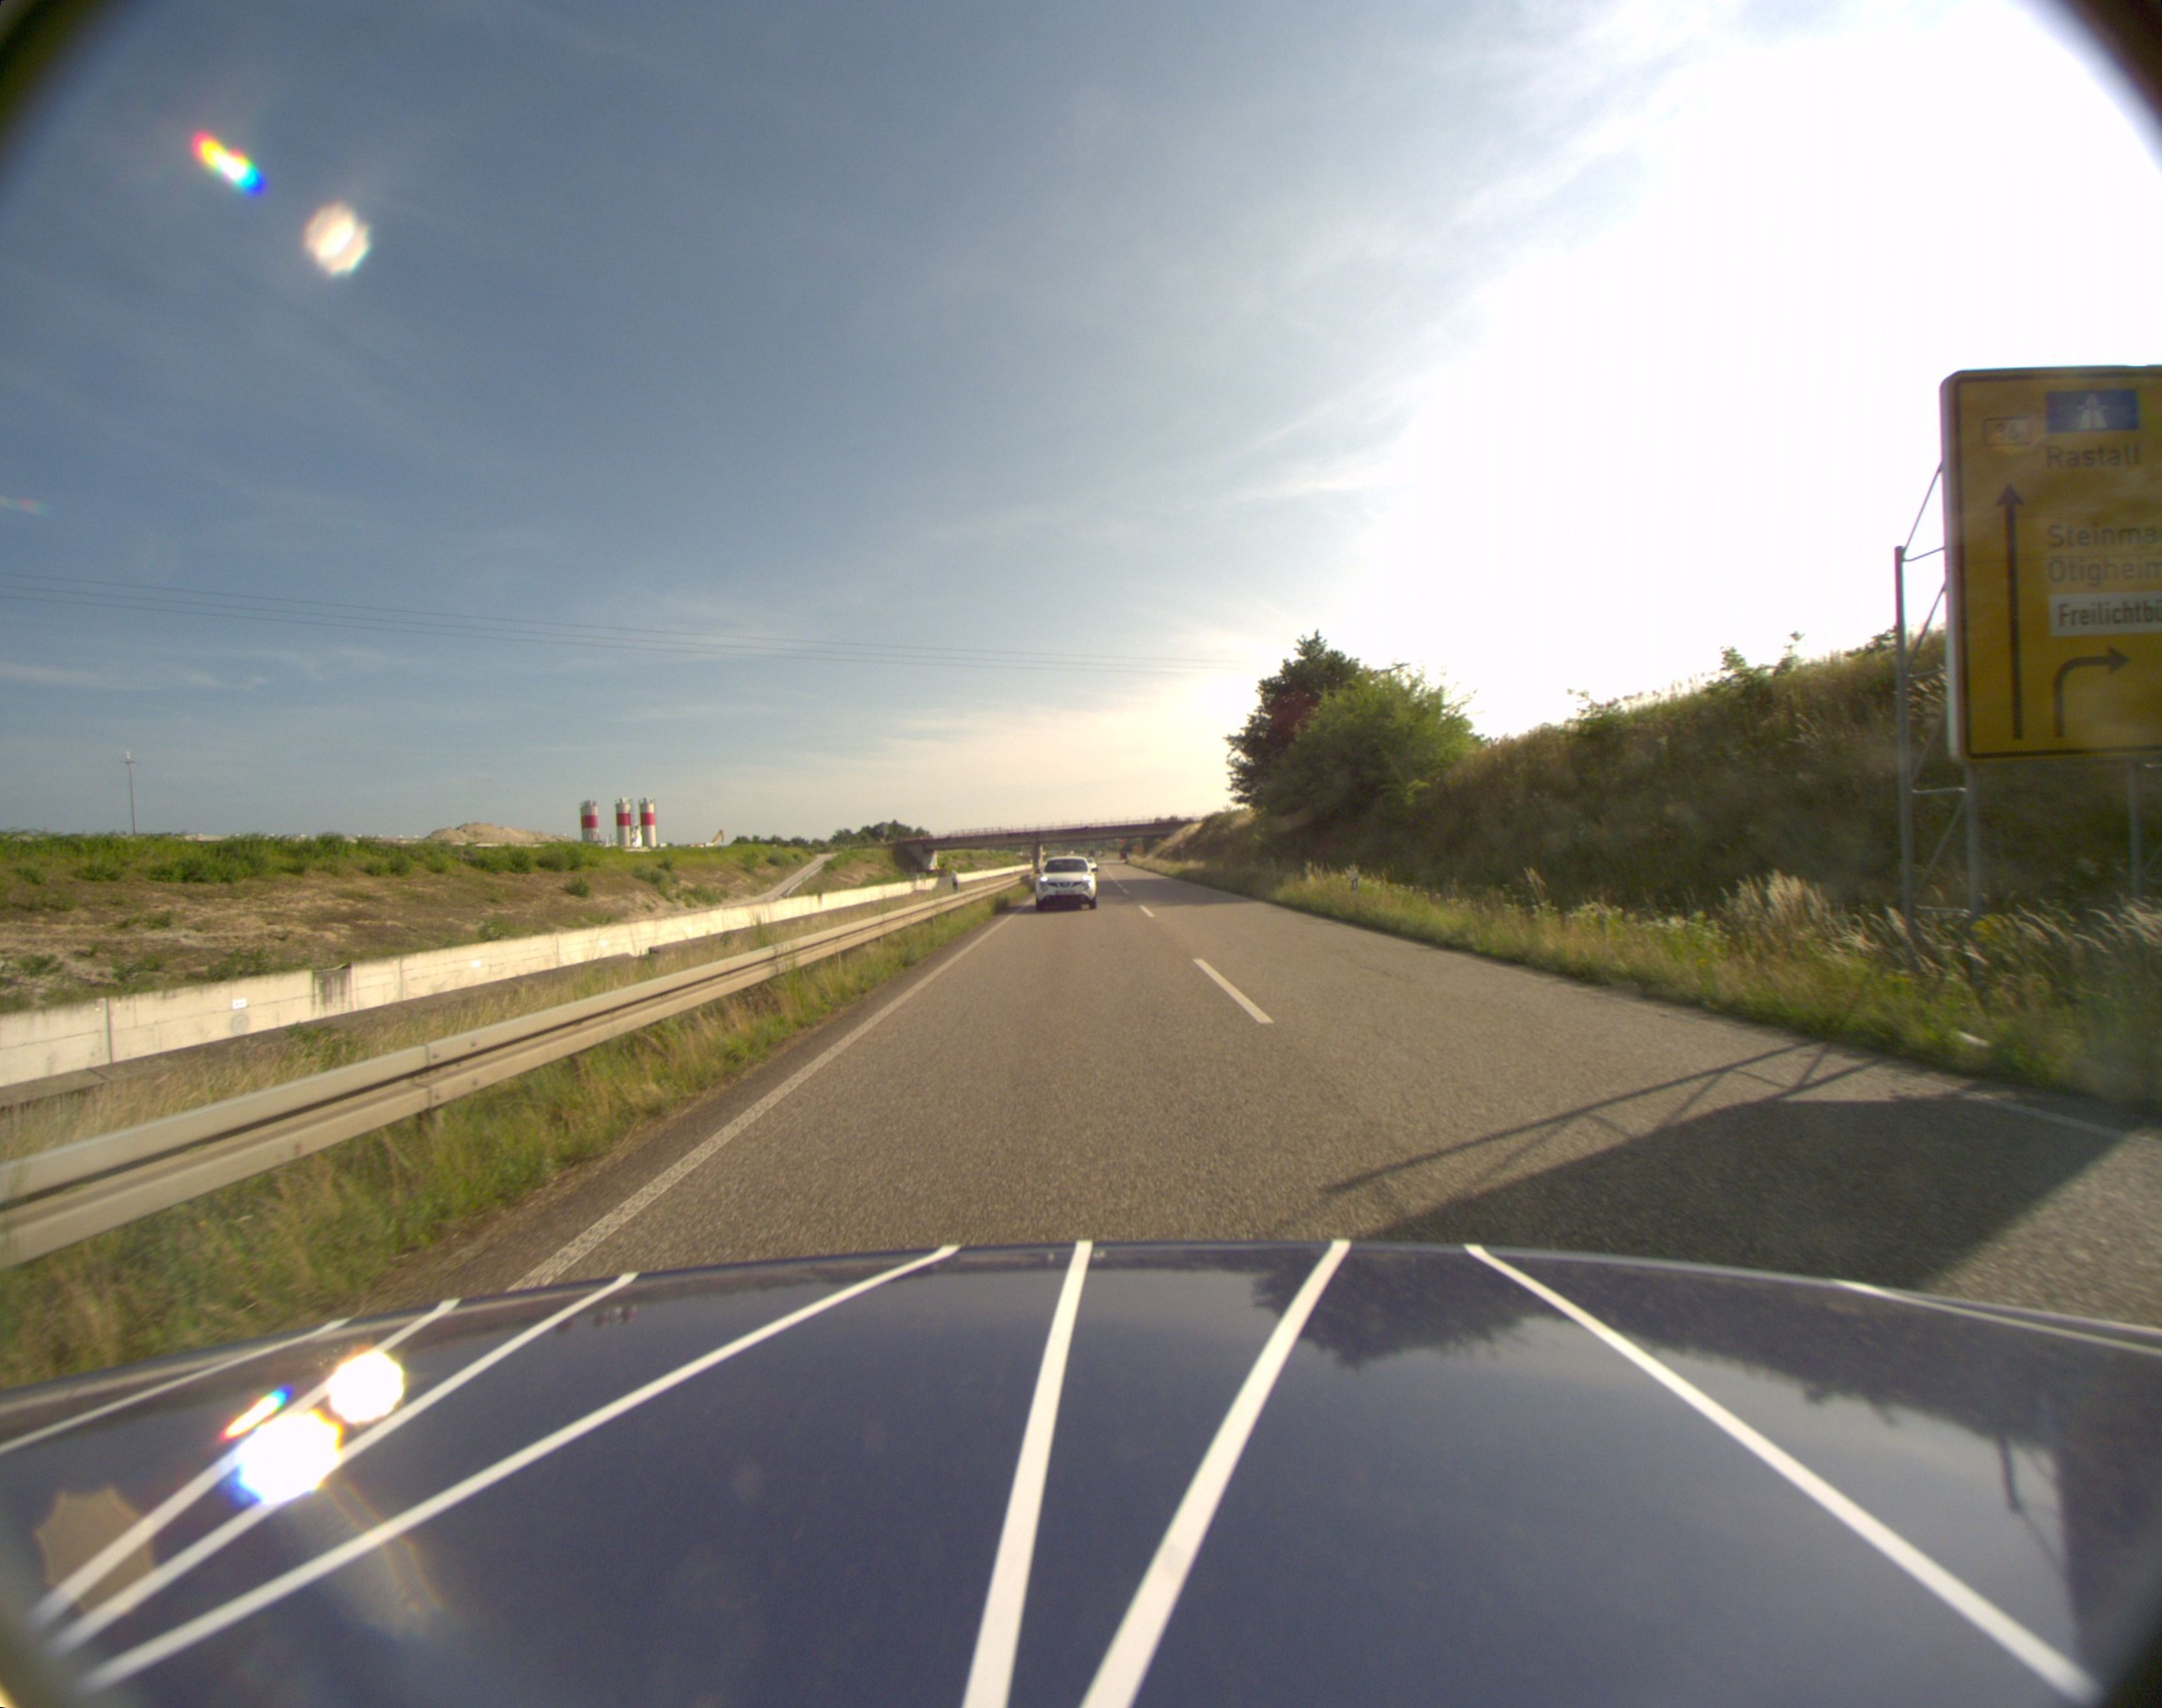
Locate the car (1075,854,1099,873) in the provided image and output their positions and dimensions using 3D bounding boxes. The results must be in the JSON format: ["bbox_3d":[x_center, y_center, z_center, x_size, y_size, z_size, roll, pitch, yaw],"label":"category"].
[{"bbox_3d":[0.538,0.816,66.094,1.908,1.512,4.466,-2,0,2],"label":"car"}]

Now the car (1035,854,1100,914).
[{"bbox_3d":[-0.431,0.852,23.713,1.789,1.593,4.571,-2,0,-1],"label":"car"}]
